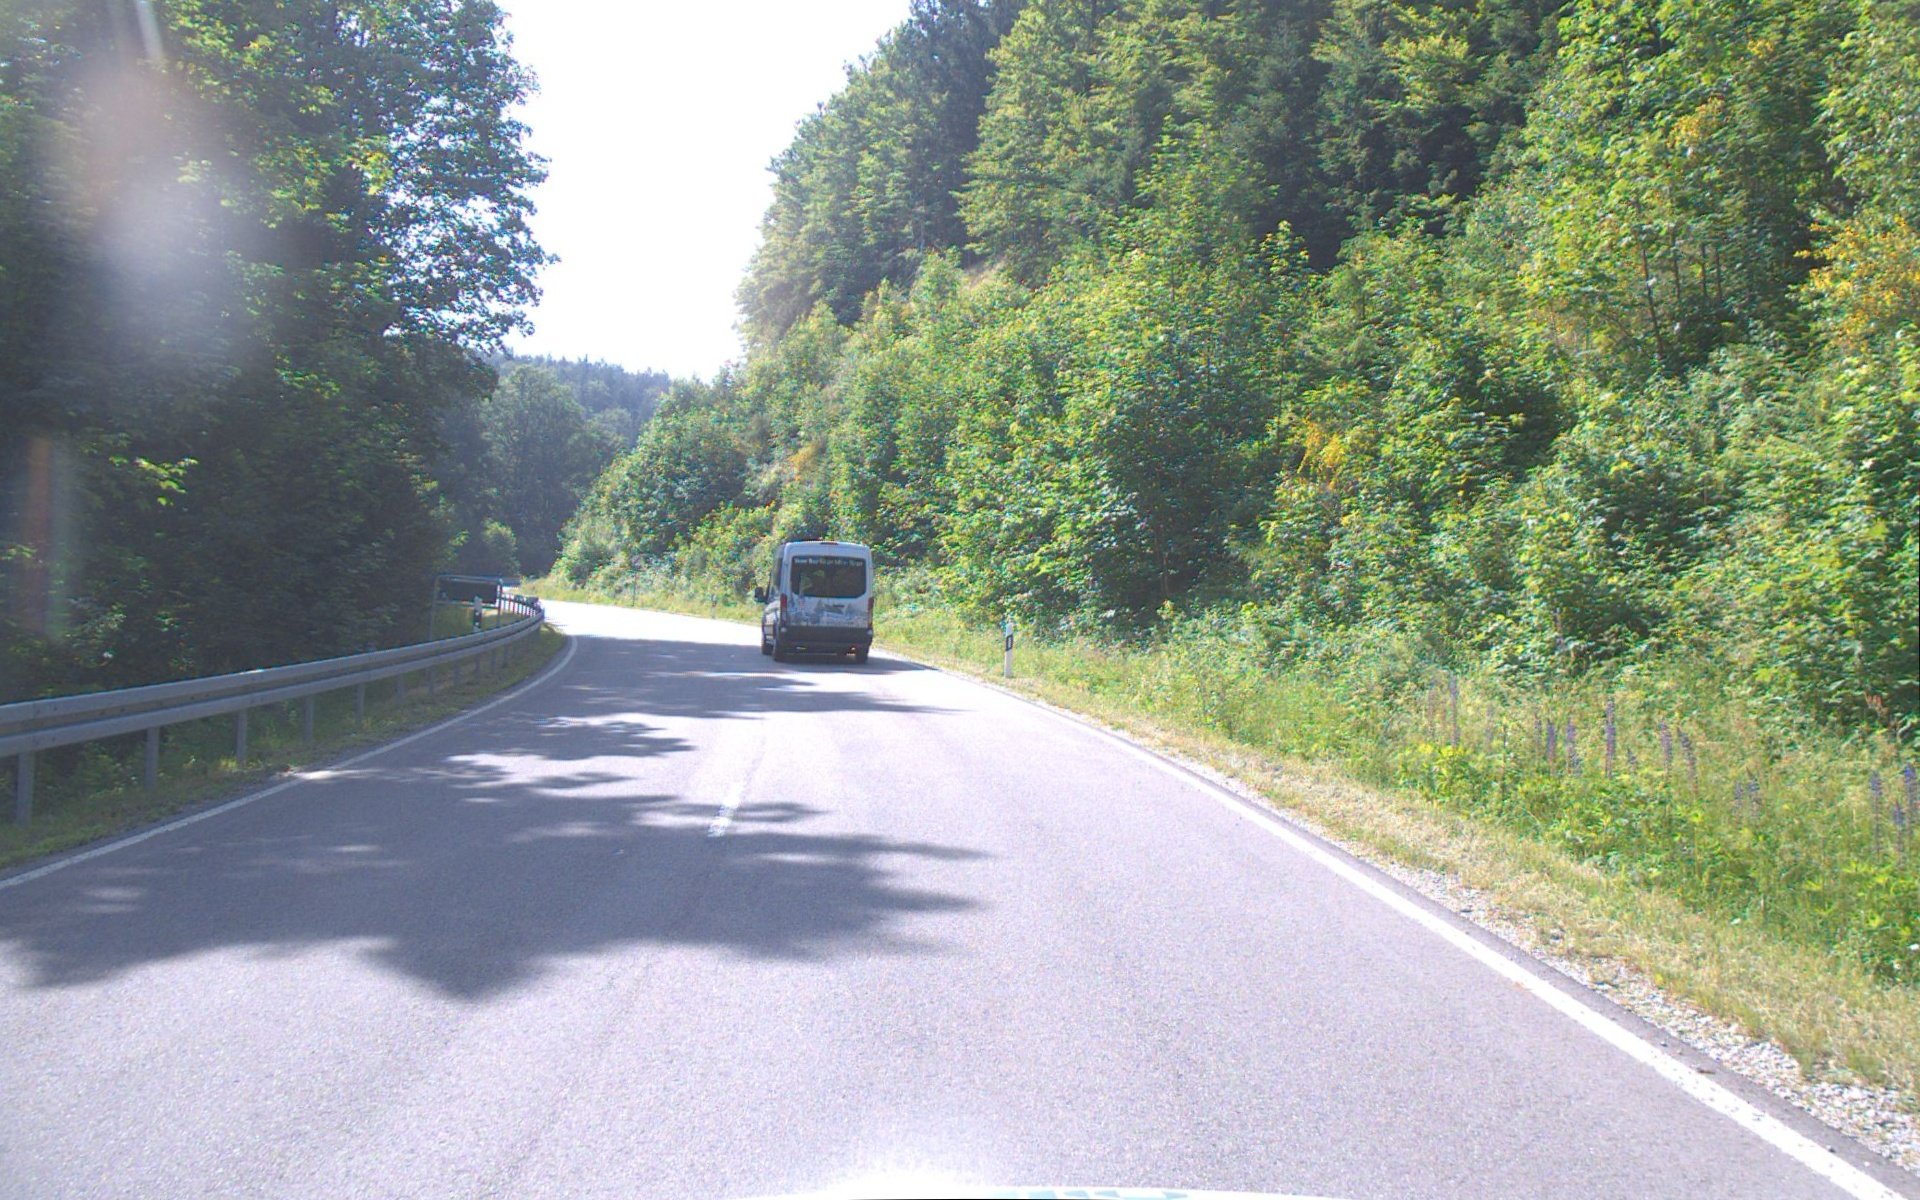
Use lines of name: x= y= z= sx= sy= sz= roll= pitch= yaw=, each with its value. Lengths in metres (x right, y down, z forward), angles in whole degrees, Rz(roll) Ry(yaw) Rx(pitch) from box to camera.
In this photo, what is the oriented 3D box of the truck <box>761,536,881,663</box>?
truck: x=-3.118 y=-0.025 z=36.022 sx=2.077 sy=2.542 sz=5.346 roll=1 pitch=0 yaw=-10
